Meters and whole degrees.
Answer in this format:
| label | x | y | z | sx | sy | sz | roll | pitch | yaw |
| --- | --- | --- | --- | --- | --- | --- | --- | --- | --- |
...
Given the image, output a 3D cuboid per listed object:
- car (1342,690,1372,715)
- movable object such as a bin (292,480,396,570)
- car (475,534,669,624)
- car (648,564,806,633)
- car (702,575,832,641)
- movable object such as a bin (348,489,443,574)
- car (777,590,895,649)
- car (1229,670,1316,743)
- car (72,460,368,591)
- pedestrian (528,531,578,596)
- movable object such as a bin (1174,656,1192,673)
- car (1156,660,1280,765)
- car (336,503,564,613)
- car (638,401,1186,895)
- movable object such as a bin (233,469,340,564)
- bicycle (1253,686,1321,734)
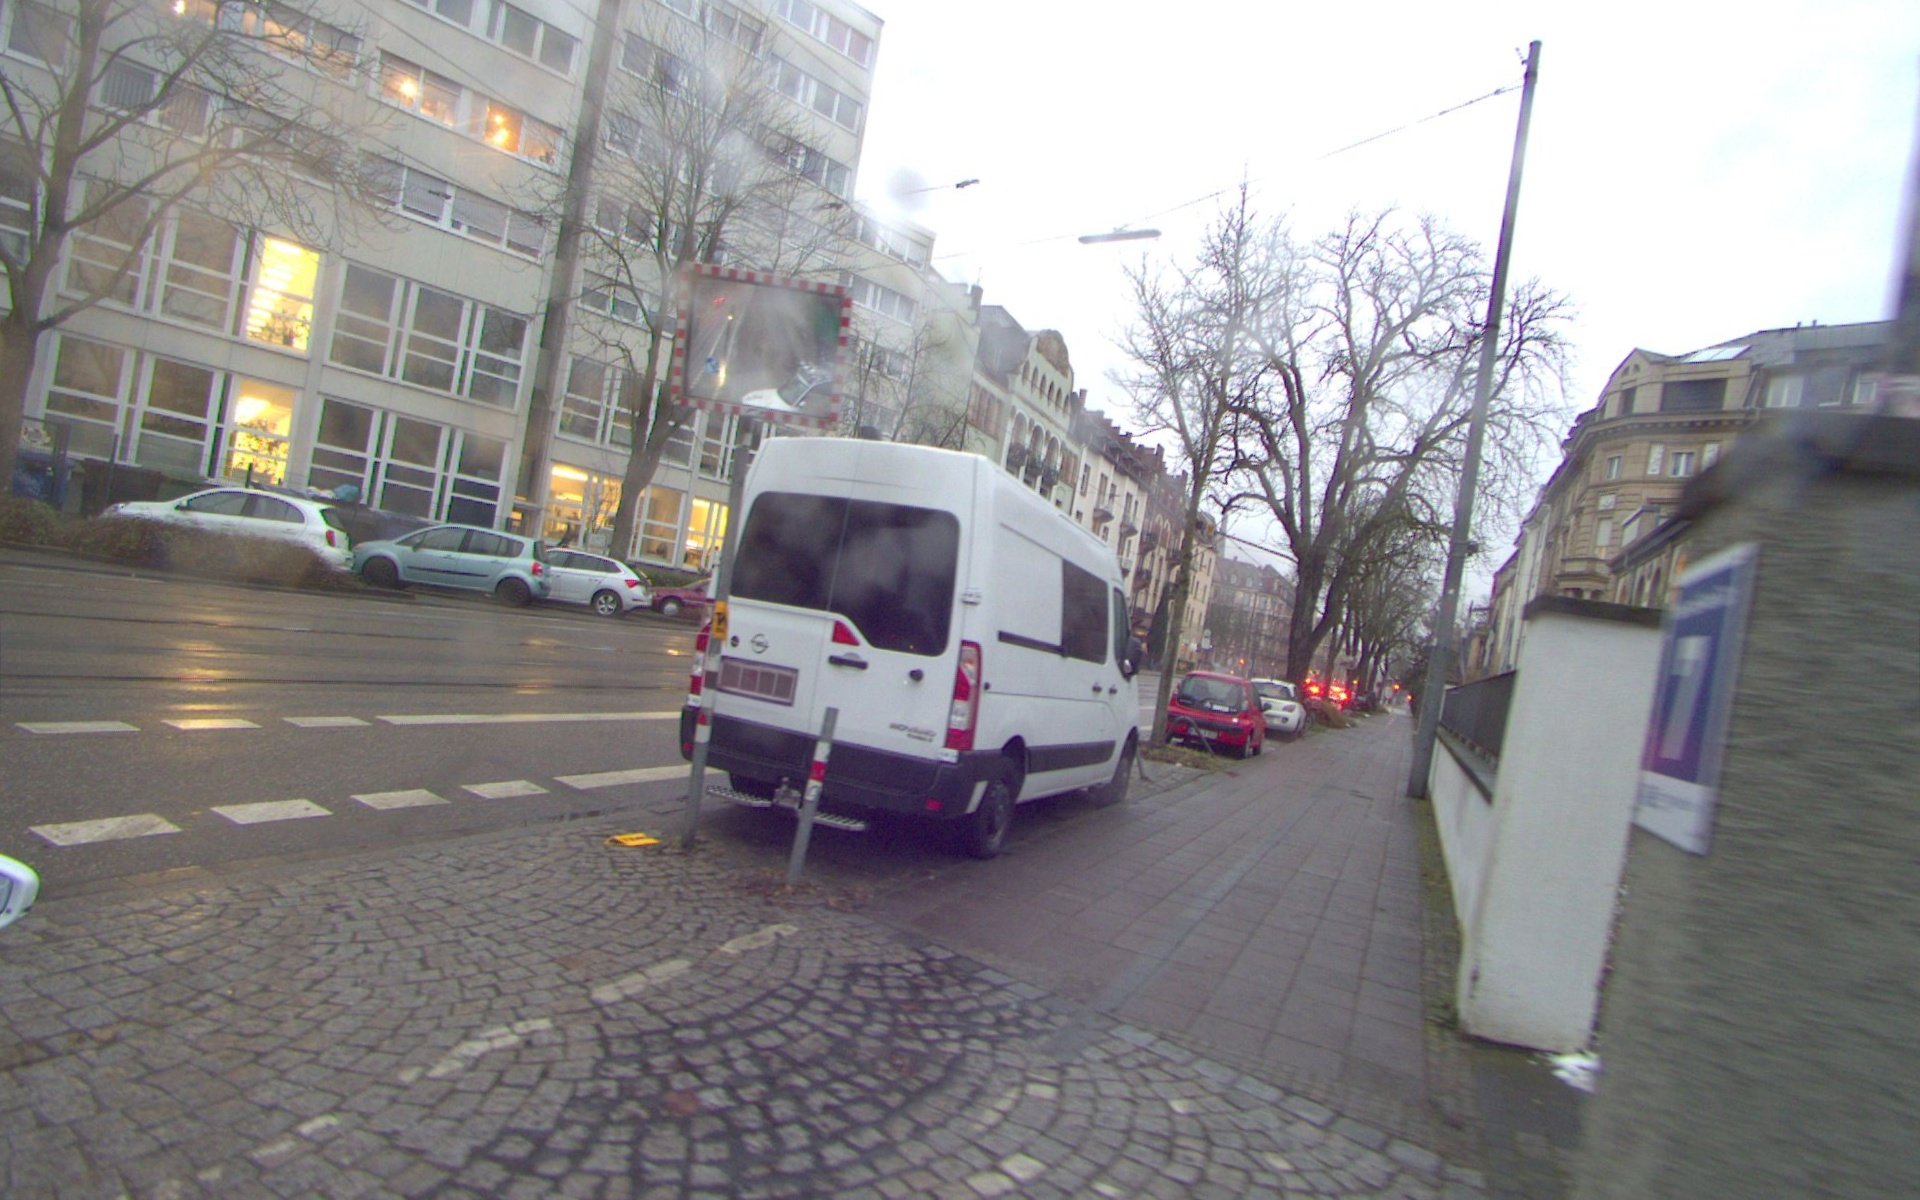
| label | x | y | z | sx | sy | sz | roll | pitch | yaw |
| --- | --- | --- | --- | --- | --- | --- | --- | --- | --- |
| car | 28.269 | 7.276 | 71.527 | 1.652 | 1.477 | 4.043 | 9 | -1 | 24 |
| movable object such as a bin | -15.180 | -1.839 | 24.823 | 1.547 | 1.883 | 1.392 | 9 | 1 | 26 |
| car | -9.277 | -0.464 | 24.346 | 3.934 | 1.460 | 1.735 | 10 | -1 | -8 |
| car | -7.032 | -0.042 | 30.392 | 4.294 | 1.367 | 1.740 | 10 | -1 | -23 |
| car | -6.335 | 0.262 | 33.172 | 3.935 | 1.480 | 1.734 | 10 | -1 | -10 |
| movable object such as a bin | -14.593 | -1.758 | 26.038 | 1.547 | 1.883 | 1.316 | 9 | 1 | 26 |
| car | -4.489 | 0.688 | 36.289 | 3.802 | 1.440 | 1.728 | 10 | 0 | -21 |
| car | 8.498 | 2.836 | 27.173 | 1.666 | 1.537 | 3.637 | 9 | 0 | 24 |
| car | -13.195 | -1.288 | 18.217 | 3.825 | 1.570 | 1.685 | 10 | 0 | -20 |
| pedestrian | -11.614 | -1.035 | 28.706 | 0.588 | 1.697 | 0.973 | 9 | 1 | 25 |
| movable object such as a bin | 23.495 | 6.831 | 105.882 | 1.388 | 1.549 | 1.364 | 9 | 0 | 25 |
| car | 5.055 | 2.092 | 19.402 | 1.618 | 1.541 | 3.573 | 10 | 0 | 22 |
| car | -10.799 | -0.870 | 21.624 | 3.943 | 1.582 | 1.730 | 10 | 0 | -17 |
| car | 0.173 | 0.375 | 8.299 | 2.092 | 2.516 | 5.439 | 9 | 0 | 22 |
| movable object such as a bin | -15.762 | -1.951 | 23.556 | 1.547 | 1.883 | 1.316 | 9 | 1 | 26 |
| bicycle | 9.631 | 3.219 | 29.620 | 1.688 | 1.084 | 0.663 | 9 | 1 | 25 |
